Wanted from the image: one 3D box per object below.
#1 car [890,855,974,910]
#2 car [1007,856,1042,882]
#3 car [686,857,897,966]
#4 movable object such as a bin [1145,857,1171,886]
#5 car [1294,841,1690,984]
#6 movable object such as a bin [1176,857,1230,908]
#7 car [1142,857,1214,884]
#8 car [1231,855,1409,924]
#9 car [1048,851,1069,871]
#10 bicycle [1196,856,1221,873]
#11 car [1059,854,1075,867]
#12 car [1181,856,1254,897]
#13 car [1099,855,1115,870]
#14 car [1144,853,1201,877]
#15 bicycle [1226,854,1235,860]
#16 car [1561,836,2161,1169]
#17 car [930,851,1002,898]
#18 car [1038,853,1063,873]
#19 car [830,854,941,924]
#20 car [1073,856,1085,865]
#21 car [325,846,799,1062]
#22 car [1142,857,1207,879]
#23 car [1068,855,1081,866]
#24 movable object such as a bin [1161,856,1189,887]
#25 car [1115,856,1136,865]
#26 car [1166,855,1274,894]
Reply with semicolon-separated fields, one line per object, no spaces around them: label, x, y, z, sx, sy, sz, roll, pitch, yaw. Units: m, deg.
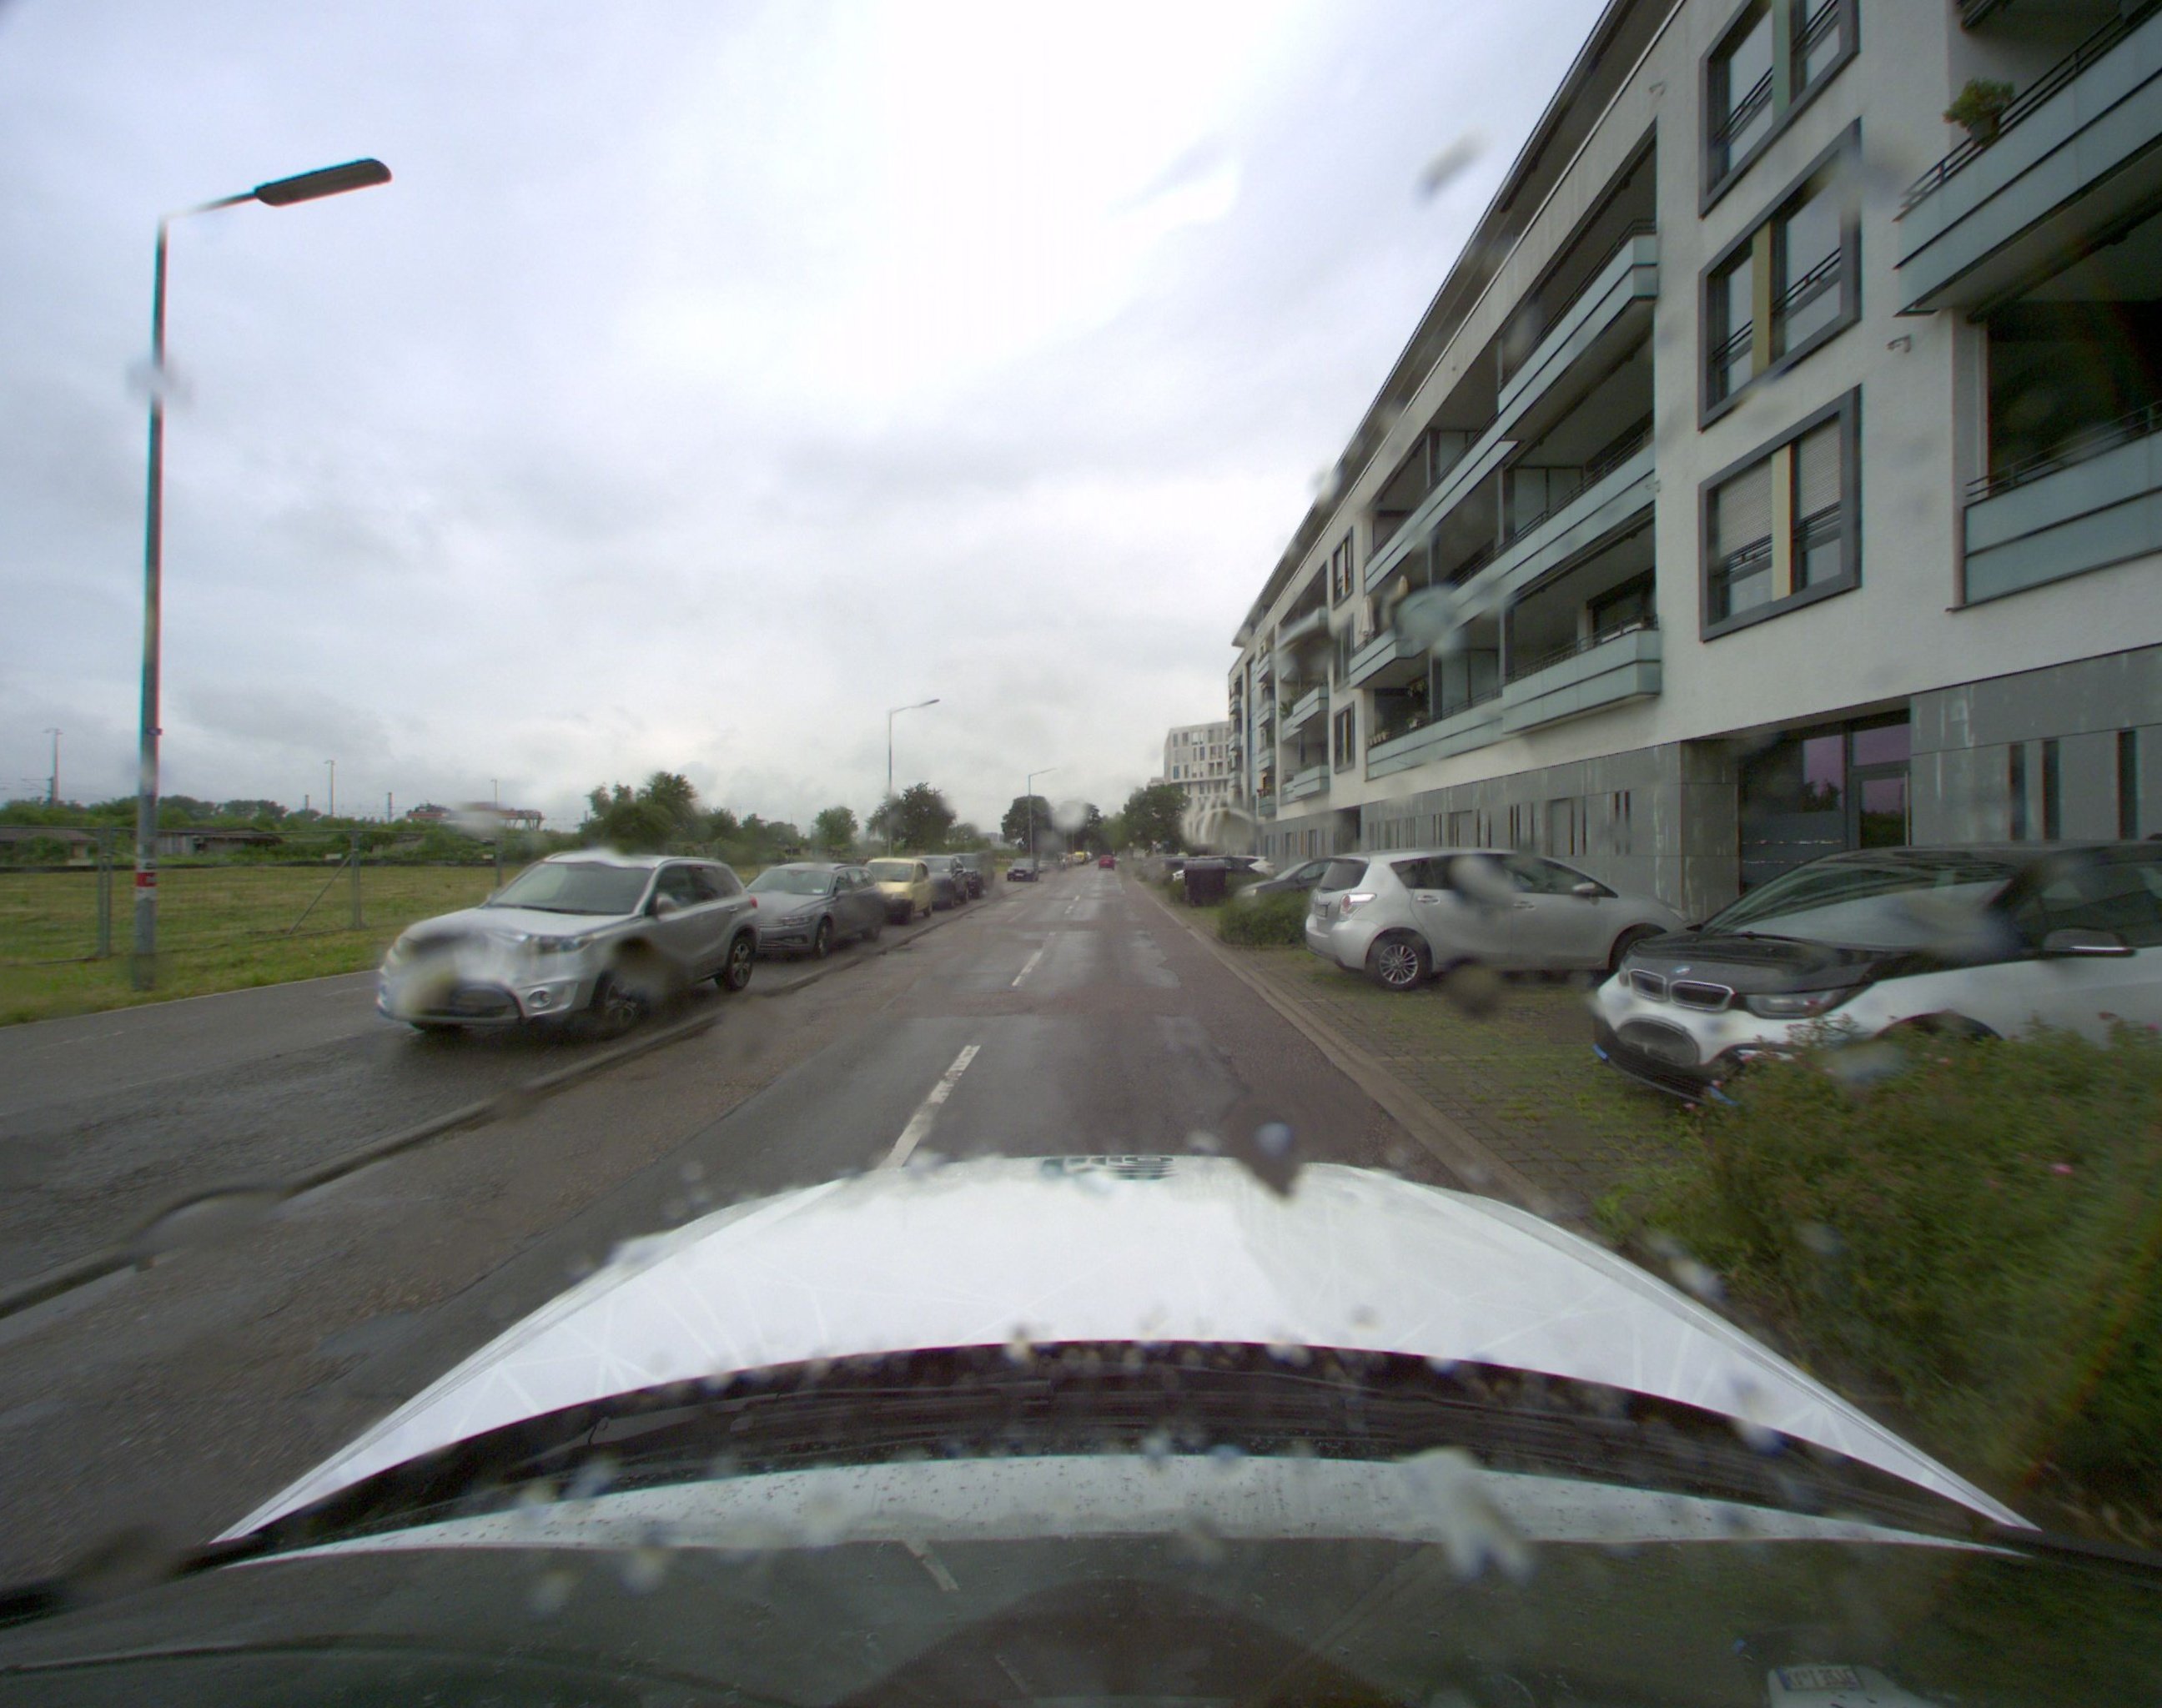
car;-4.594;0.832;25.676;1.746;1.590;4.135;1;0;2
car;-3.639;0.944;53.101;1.840;1.561;4.154;3;0;2
car;-4.827;0.881;14.423;1.830;1.528;4.672;2;-1;2
movable object such as a bin;4.230;0.959;44.826;1.295;1.526;1.582;-1;0;2
car;5.018;0.697;10.357;4.193;1.644;1.687;0;-1;0
movable object such as a bin;3.828;0.874;25.645;1.490;1.493;1.156;-2;0;1
car;5.620;0.941;47.634;4.045;1.497;2.059;-1;0;2
car;5.734;0.830;19.870;3.830;1.491;1.764;-2;0;2
car;-2.527;0.765;91.304;1.952;2.058;5.277;1;0;2
bicycle;11.358;0.920;72.537;2.168;1.522;0.634;-1;-1;22
car;-1.925;0.964;114.150;1.932;1.767;4.335;0;0;3
car;5.386;0.878;32.208;2.619;1.507;1.205;-2;0;-5
car;2.949;0.975;93.952;1.750;1.706;4.000;0;0;1
car;6.961;0.838;62.361;4.076;1.623;1.966;-2;-1;0
bicycle;26.580;0.609;144.907;0.716;1.033;2.086;0;-1;41
car;5.395;0.667;4.752;4.165;1.483;1.749;-2;-1;-2
car;-4.403;0.753;31.989;1.744;1.693;4.887;1;0;5
car;-2.885;0.845;77.703;1.948;1.902;4.997;1;0;2
car;-4.794;0.817;20.564;1.719;1.575;4.210;1;-1;0
car;-0.378;1.325;156.109;1.987;1.594;5.017;3;-1;1
car;-4.958;0.796;8.924;1.846;1.607;4.989;3;0;1
car;6.581;0.977;57.466;4.393;1.405;1.911;-2;-1;1
car;-1.095;1.073;131.113;1.797;1.561;4.035;3;0;2
movable object such as a bin;4.804;0.895;41.865;1.295;1.526;1.582;-1;0;2
car;10.217;1.387;185.948;4.527;1.685;1.885;-4;-1;-2
car;5.948;0.871;35.217;4.330;1.530;1.893;-2;0;1
